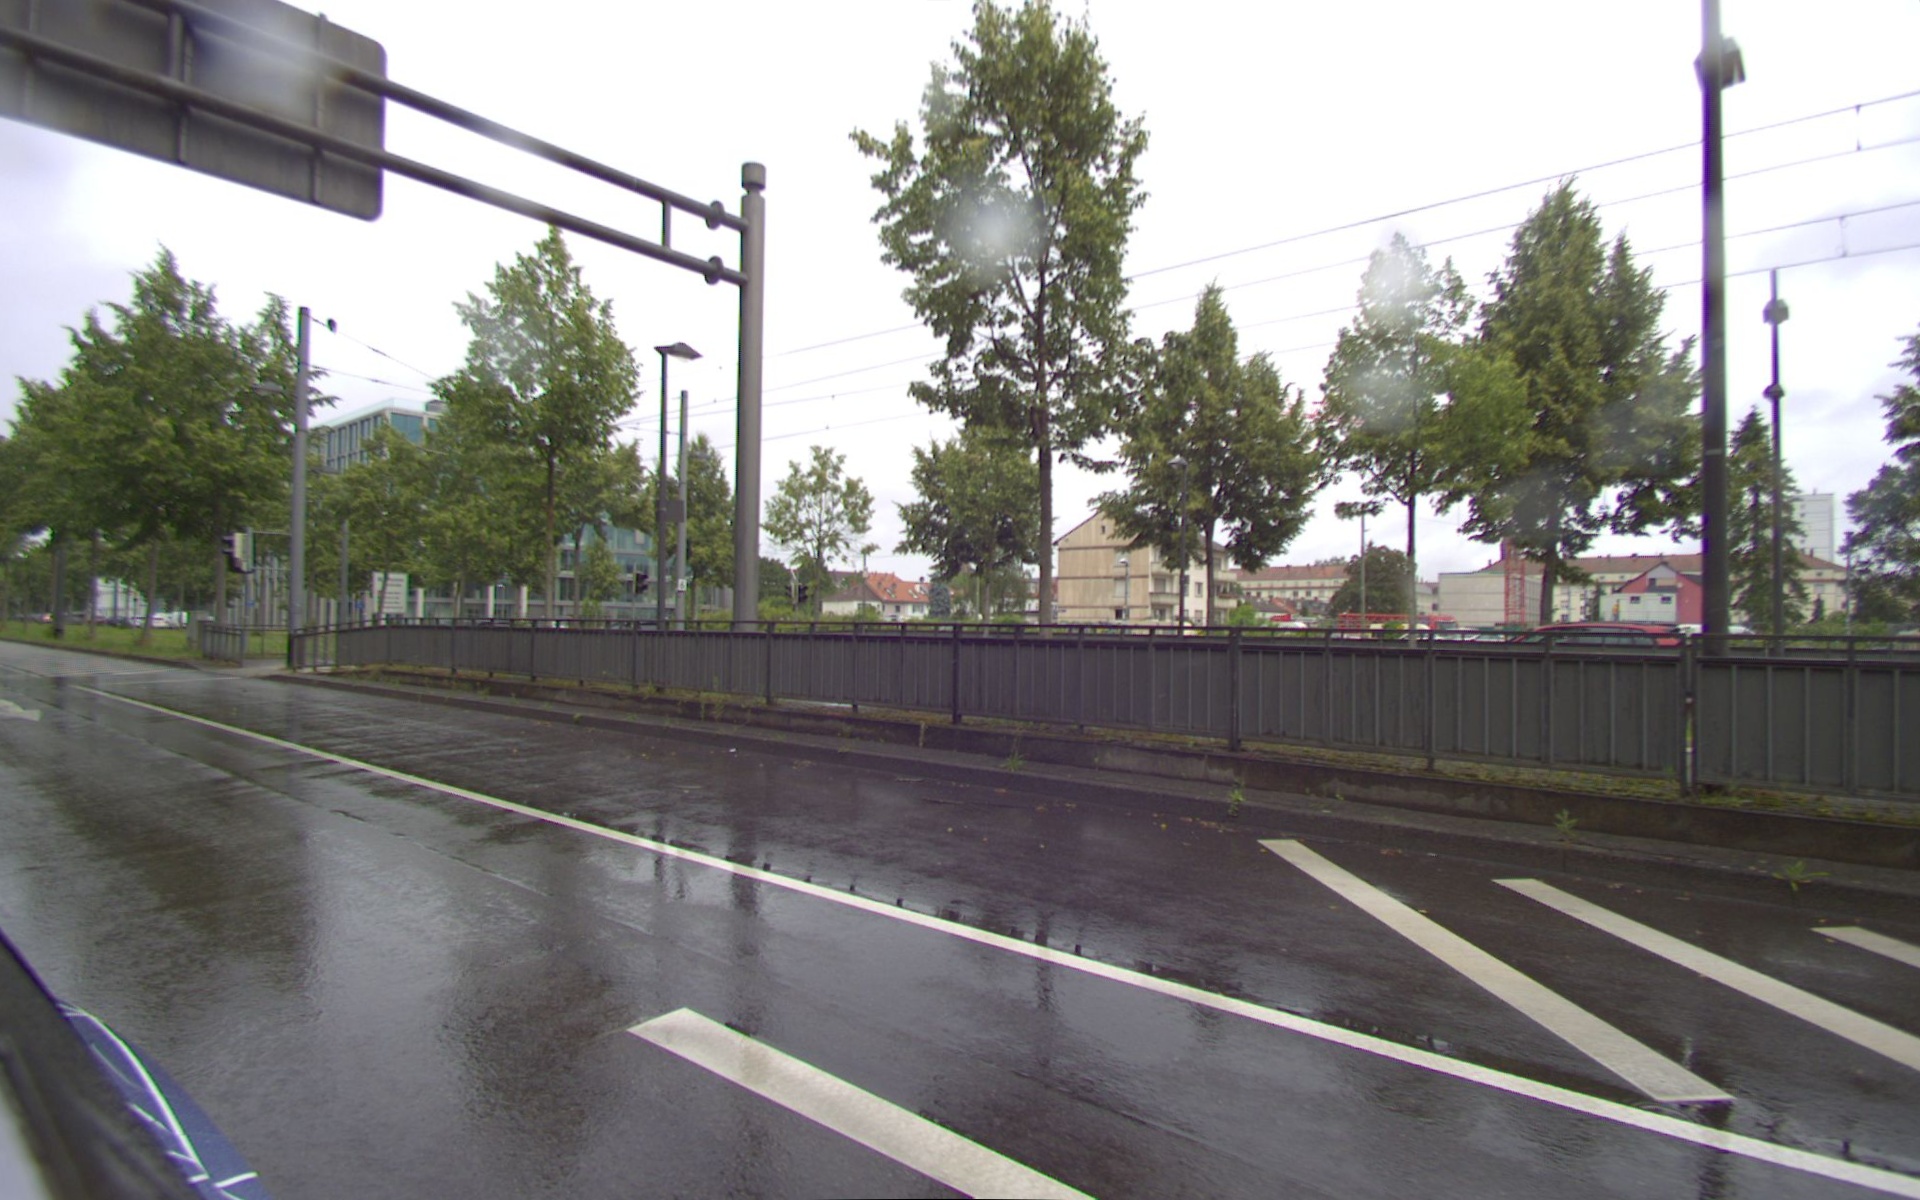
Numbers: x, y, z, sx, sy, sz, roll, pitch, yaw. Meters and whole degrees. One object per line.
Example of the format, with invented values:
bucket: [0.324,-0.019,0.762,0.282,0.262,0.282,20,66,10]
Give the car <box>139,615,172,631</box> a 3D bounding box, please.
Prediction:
car: [-93.855,2.710,118.057,5.024,1.664,1.931,-4,-5,39]

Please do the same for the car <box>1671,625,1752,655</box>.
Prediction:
car: [49.229,2.655,66.415,3.985,1.830,1.811,-3,-4,31]

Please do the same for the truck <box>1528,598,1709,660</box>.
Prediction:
truck: [62.683,2.968,97.110,13.213,5.438,6.159,-2,-4,21]

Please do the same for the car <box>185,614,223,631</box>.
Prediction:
car: [-62.030,1.830,83.018,4.974,1.307,1.473,0,-2,41]

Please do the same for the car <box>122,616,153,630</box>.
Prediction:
car: [-93.188,2.570,114.629,4.573,1.525,1.930,-1,-3,41]

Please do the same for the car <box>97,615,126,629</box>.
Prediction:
car: [-102.694,2.657,122.493,3.957,1.506,1.931,-4,-5,39]

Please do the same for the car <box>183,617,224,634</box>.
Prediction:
car: [-61.854,2.133,82.691,4.846,1.276,1.533,-3,-4,39]

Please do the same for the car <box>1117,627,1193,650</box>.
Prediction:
car: [15.806,3.126,82.296,5.770,1.685,2.026,-4,-5,39]

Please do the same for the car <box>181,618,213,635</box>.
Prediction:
car: [-80.097,2.780,106.199,4.577,1.762,1.929,-1,-3,44]

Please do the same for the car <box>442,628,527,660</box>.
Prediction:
car: [-26.106,2.402,55.457,5.494,1.620,1.932,-1,-3,39]

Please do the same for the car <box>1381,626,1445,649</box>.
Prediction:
car: [32.511,2.706,72.679,3.810,1.531,1.722,-4,-5,41]

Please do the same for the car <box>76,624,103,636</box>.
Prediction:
car: [-112.592,3.902,130.906,4.601,1.396,1.931,-4,-5,40]

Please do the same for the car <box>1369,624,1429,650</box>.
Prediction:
car: [33.673,2.858,77.688,3.985,1.830,1.811,-3,-4,31]

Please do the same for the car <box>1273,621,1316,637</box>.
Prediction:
car: [38.250,3.318,115.703,4.614,1.700,1.811,-2,-4,20]

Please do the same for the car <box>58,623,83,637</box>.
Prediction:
car: [-121.823,4.122,138.587,4.540,1.863,1.930,-2,-4,41]

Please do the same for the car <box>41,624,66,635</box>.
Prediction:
car: [-120.697,3.904,134.763,4.573,1.463,1.930,-1,-3,41]

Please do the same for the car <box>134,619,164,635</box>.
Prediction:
car: [-86.303,2.888,107.636,4.833,1.472,1.928,-4,-5,45]

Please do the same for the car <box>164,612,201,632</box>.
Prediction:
car: [-85.960,2.467,111.856,5.371,2.022,2.243,-4,-5,42]
